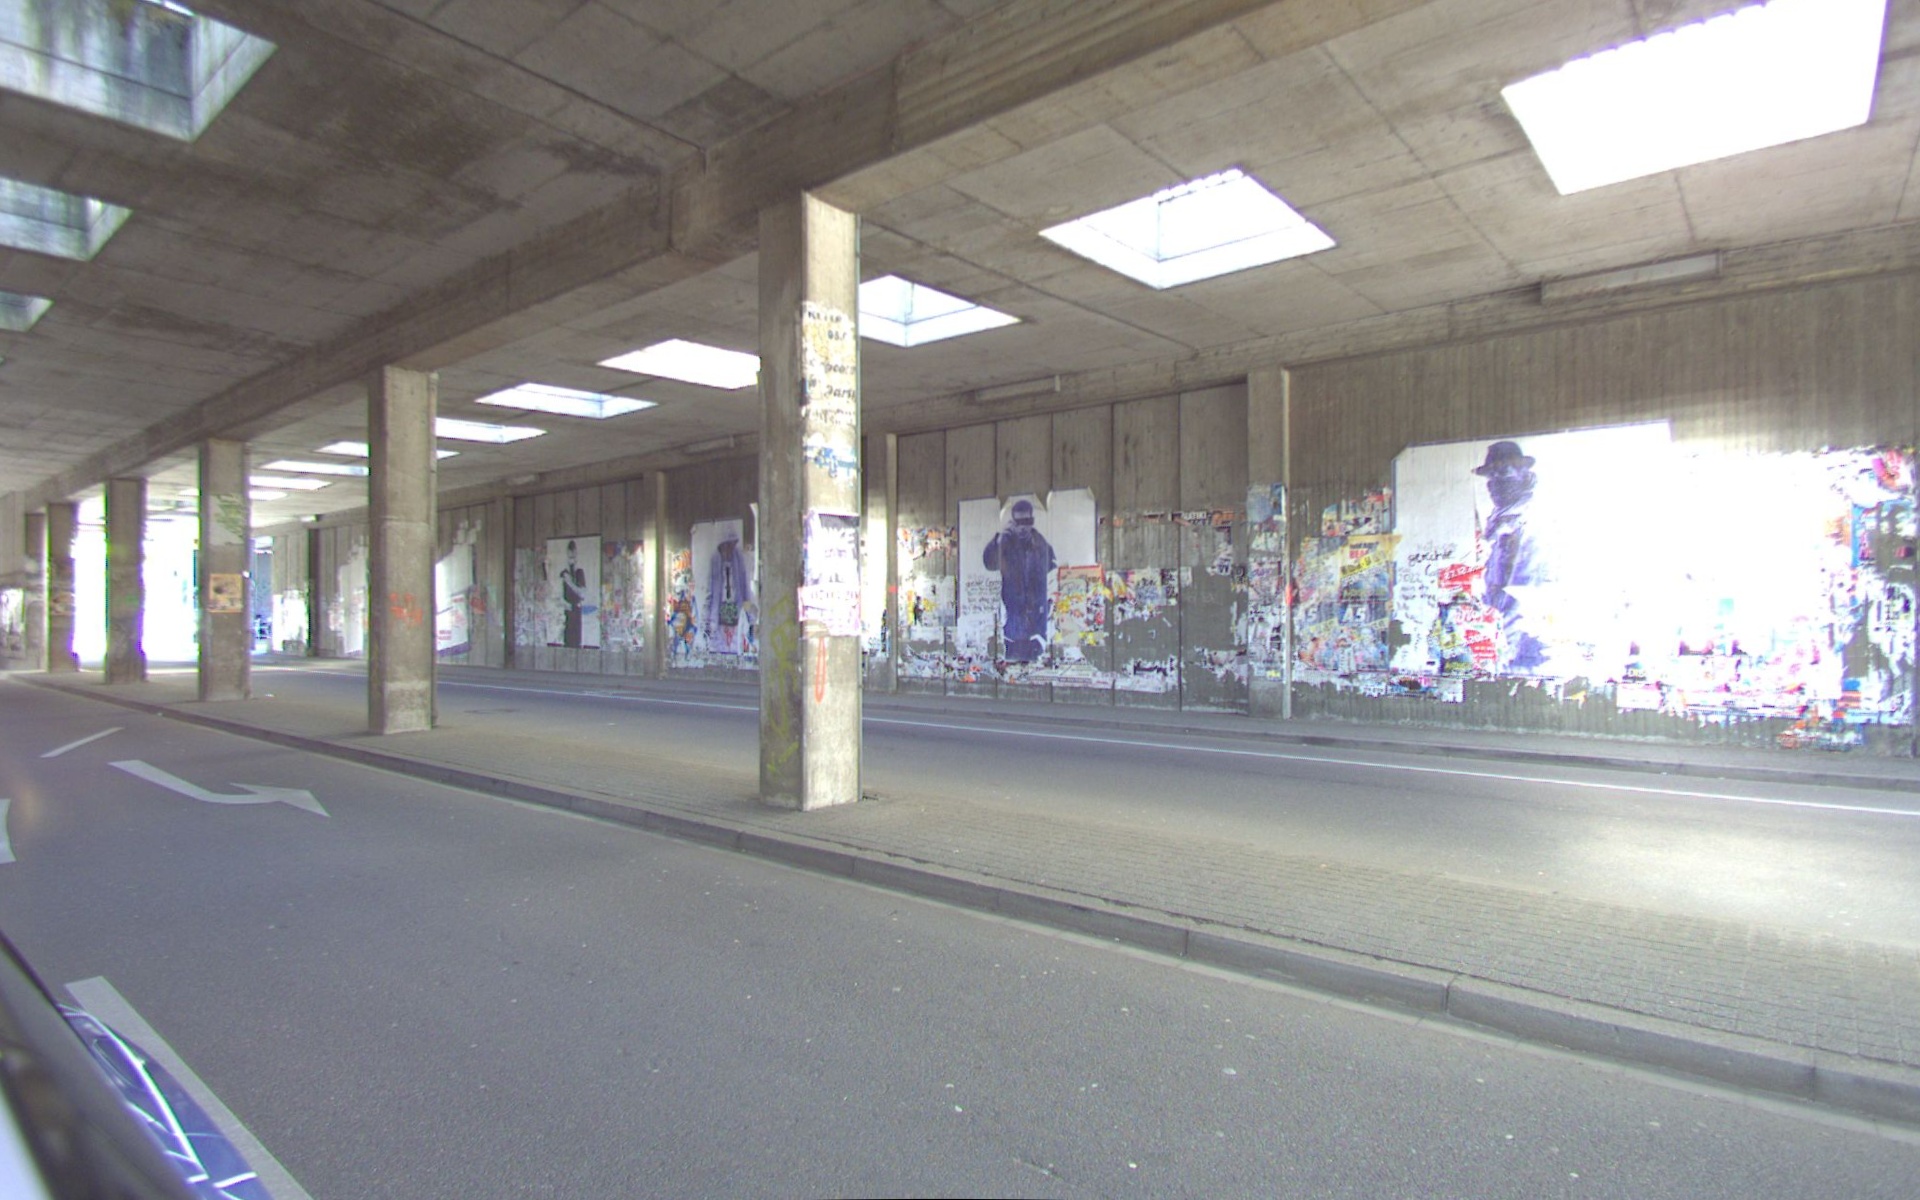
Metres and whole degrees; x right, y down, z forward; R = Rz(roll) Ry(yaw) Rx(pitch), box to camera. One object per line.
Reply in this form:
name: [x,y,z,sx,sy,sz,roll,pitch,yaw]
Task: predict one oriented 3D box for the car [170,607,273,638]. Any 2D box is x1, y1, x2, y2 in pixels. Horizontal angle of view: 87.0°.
car: [-45.341,1.365,62.215,1.996,1.848,4.757,-1,-2,36]
